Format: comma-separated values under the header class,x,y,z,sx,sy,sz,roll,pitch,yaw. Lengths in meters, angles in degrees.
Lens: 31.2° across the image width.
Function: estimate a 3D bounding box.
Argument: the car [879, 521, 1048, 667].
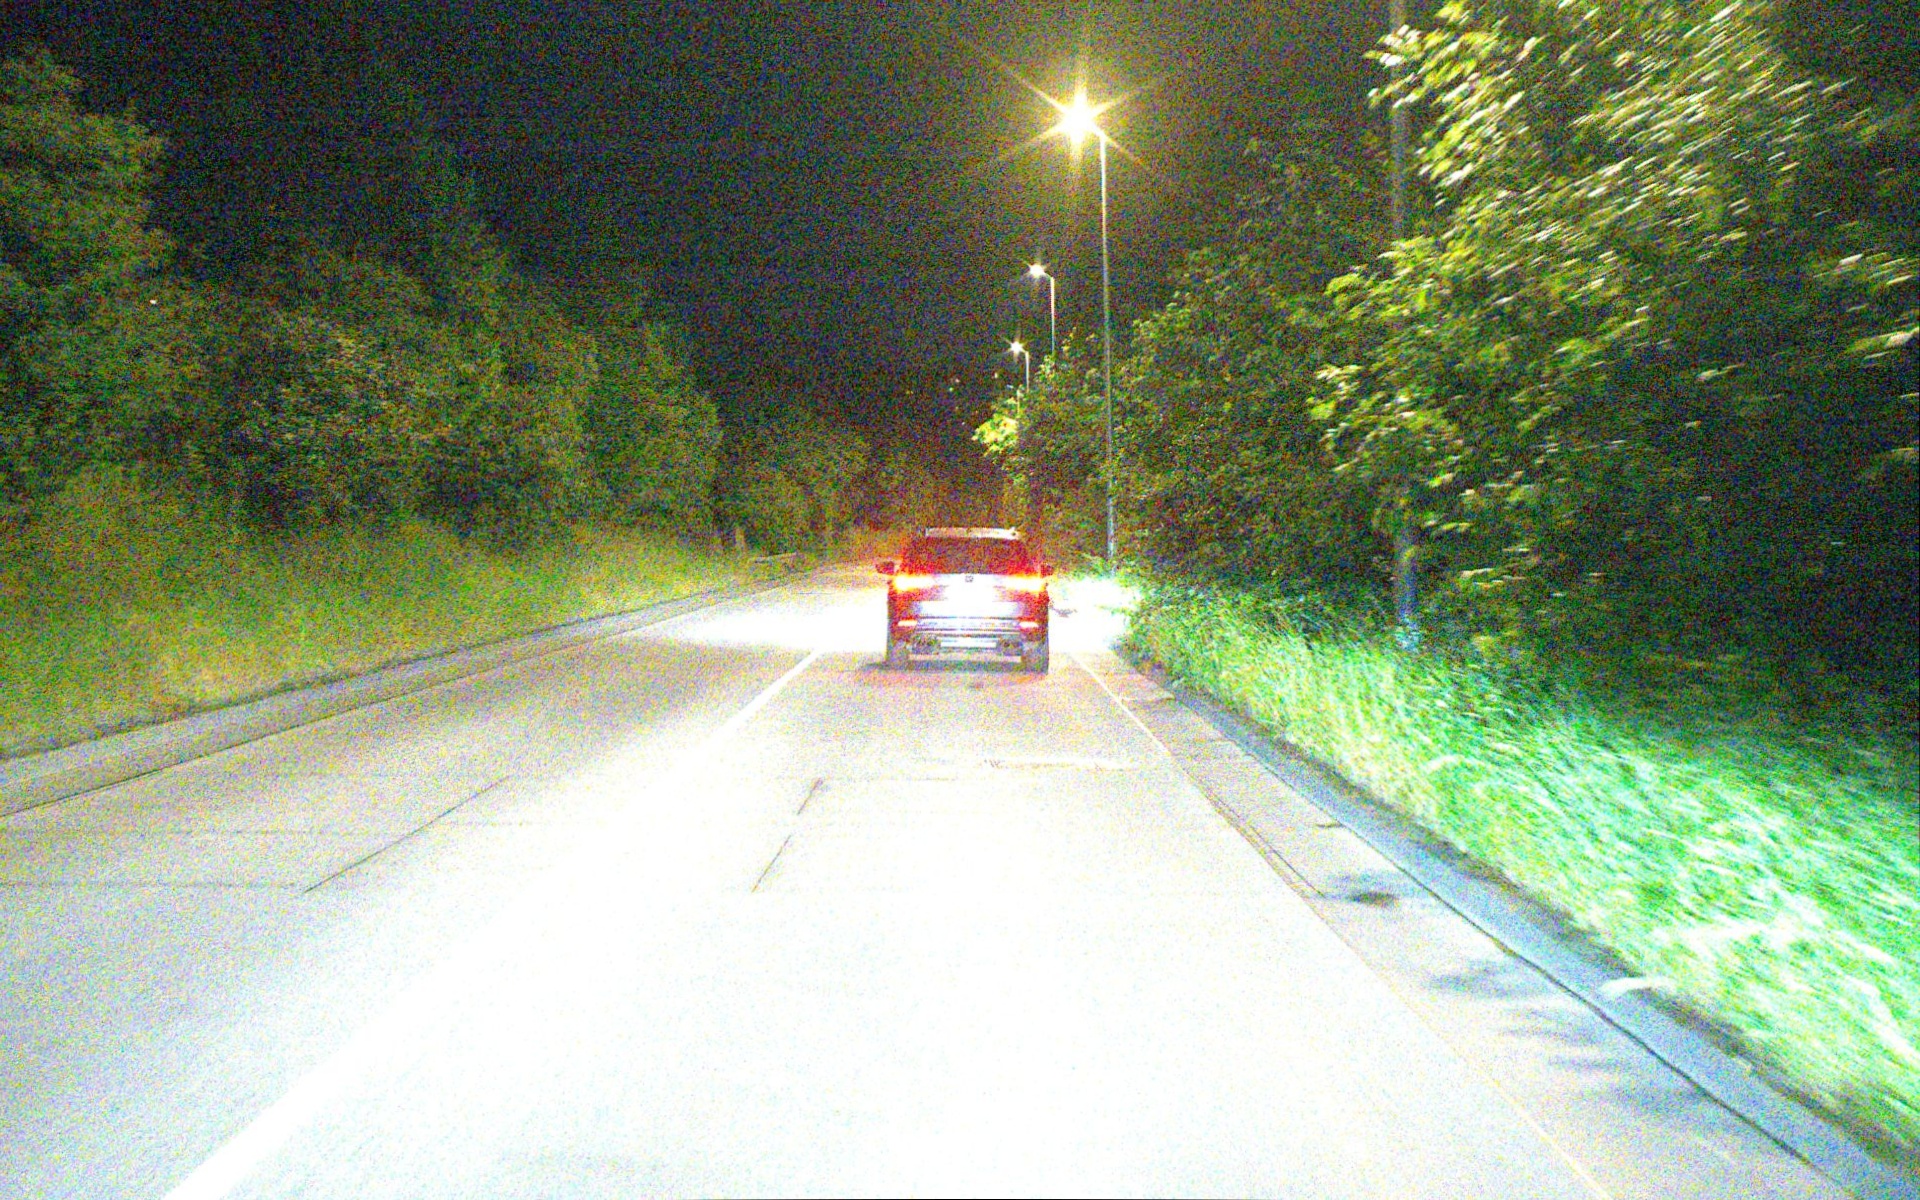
class,x,y,z,sx,sy,sz,roll,pitch,yaw
car,0.004,-0.109,39.055,1.814,1.568,3.944,0,1,-1
